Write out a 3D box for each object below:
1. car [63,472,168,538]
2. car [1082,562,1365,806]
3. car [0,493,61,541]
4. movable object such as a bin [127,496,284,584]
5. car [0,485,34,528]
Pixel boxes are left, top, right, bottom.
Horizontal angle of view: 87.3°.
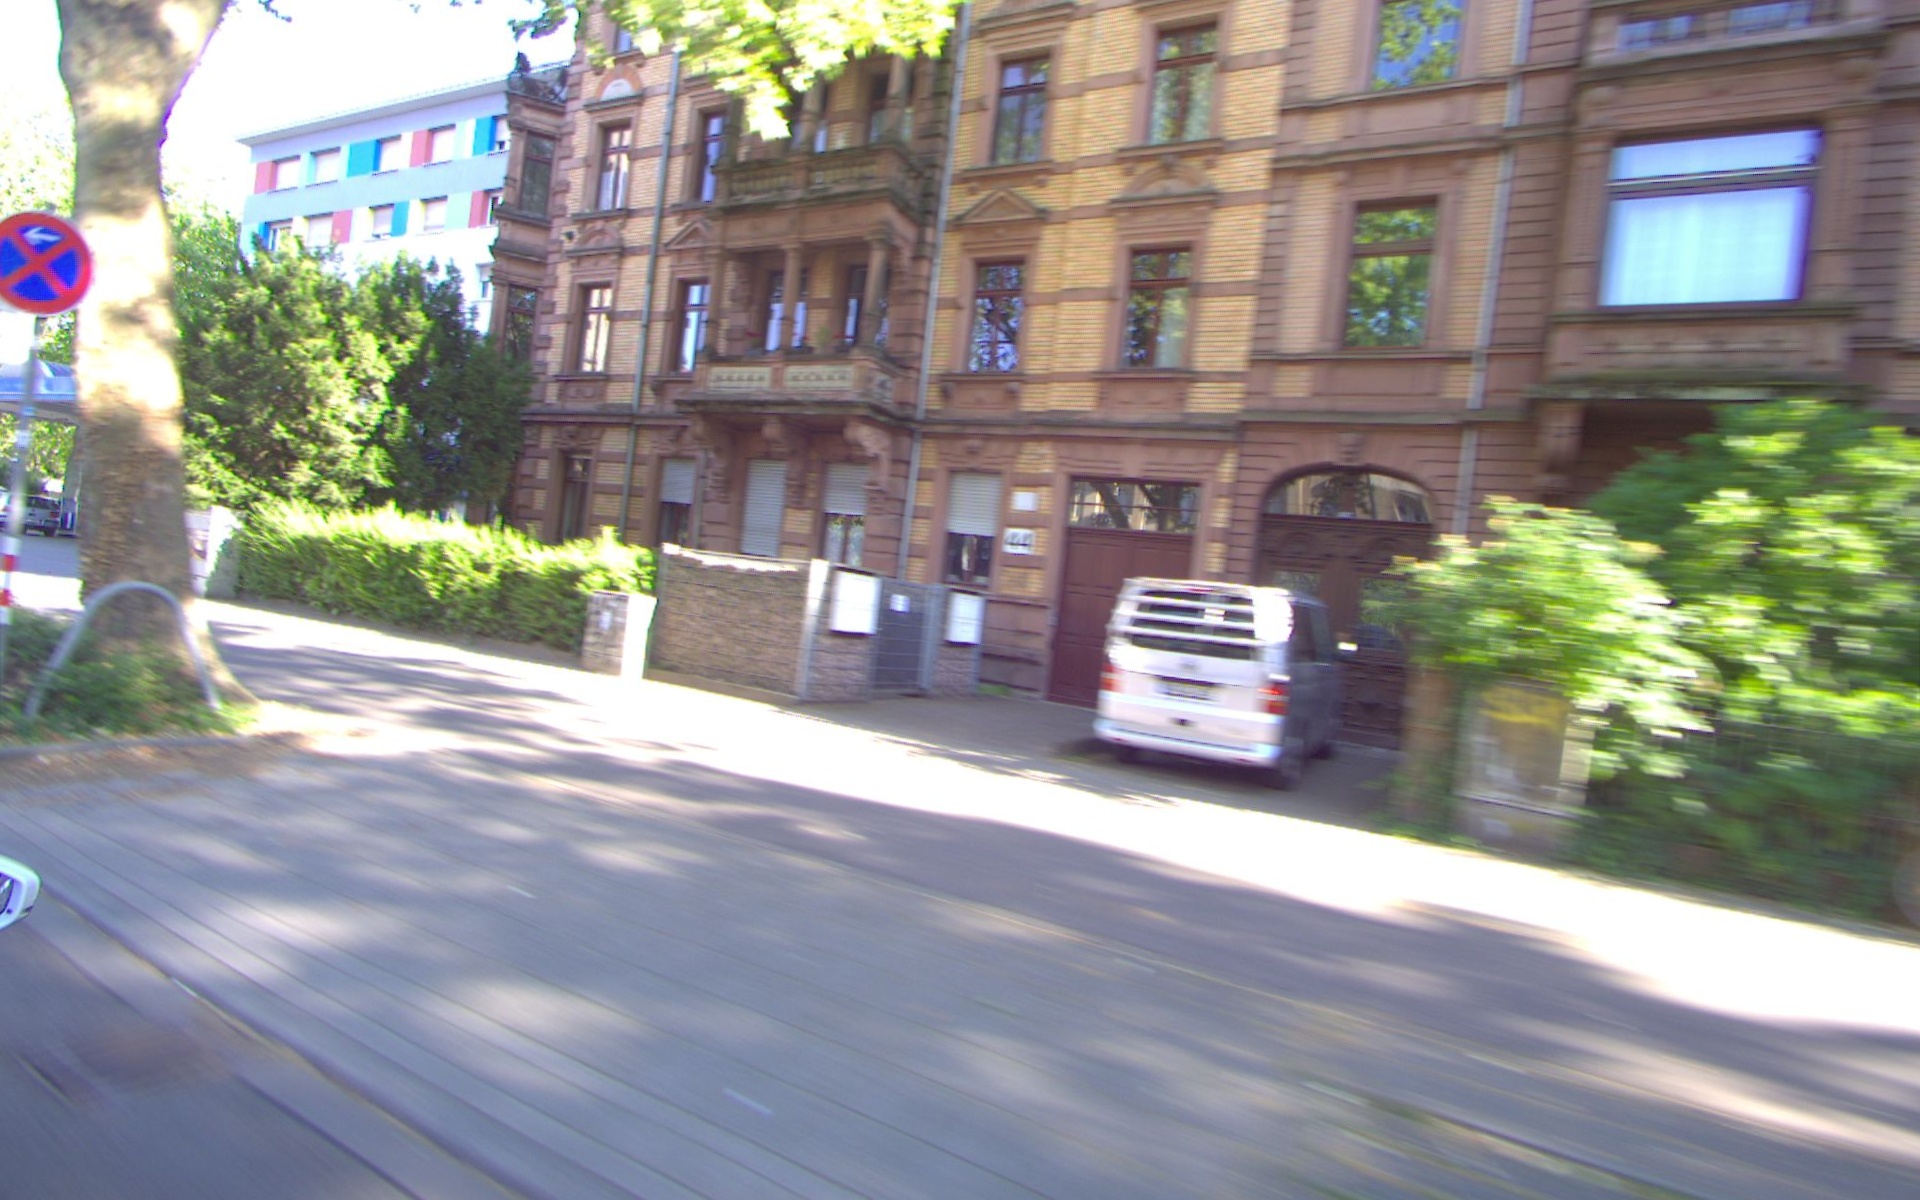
[{"bbox_3d":[-44.751,-5.042,53.287,5.698,2.868,2.244,7,0,29],"label":"car"},{"bbox_3d":[3.210,0.834,11.442,1.881,2.039,4.578,7,1,29],"label":"car"},{"bbox_3d":[-34.355,-3.092,36.262,4.028,1.448,1.570,7,0,29],"label":"car"},{"bbox_3d":[-16.246,-1.267,21.726,1.715,1.509,2.041,7,0,25],"label":"movable object such as a bin"},{"bbox_3d":[-46.601,-4.670,48.165,4.716,1.756,1.863,8,1,29],"label":"car"}]
